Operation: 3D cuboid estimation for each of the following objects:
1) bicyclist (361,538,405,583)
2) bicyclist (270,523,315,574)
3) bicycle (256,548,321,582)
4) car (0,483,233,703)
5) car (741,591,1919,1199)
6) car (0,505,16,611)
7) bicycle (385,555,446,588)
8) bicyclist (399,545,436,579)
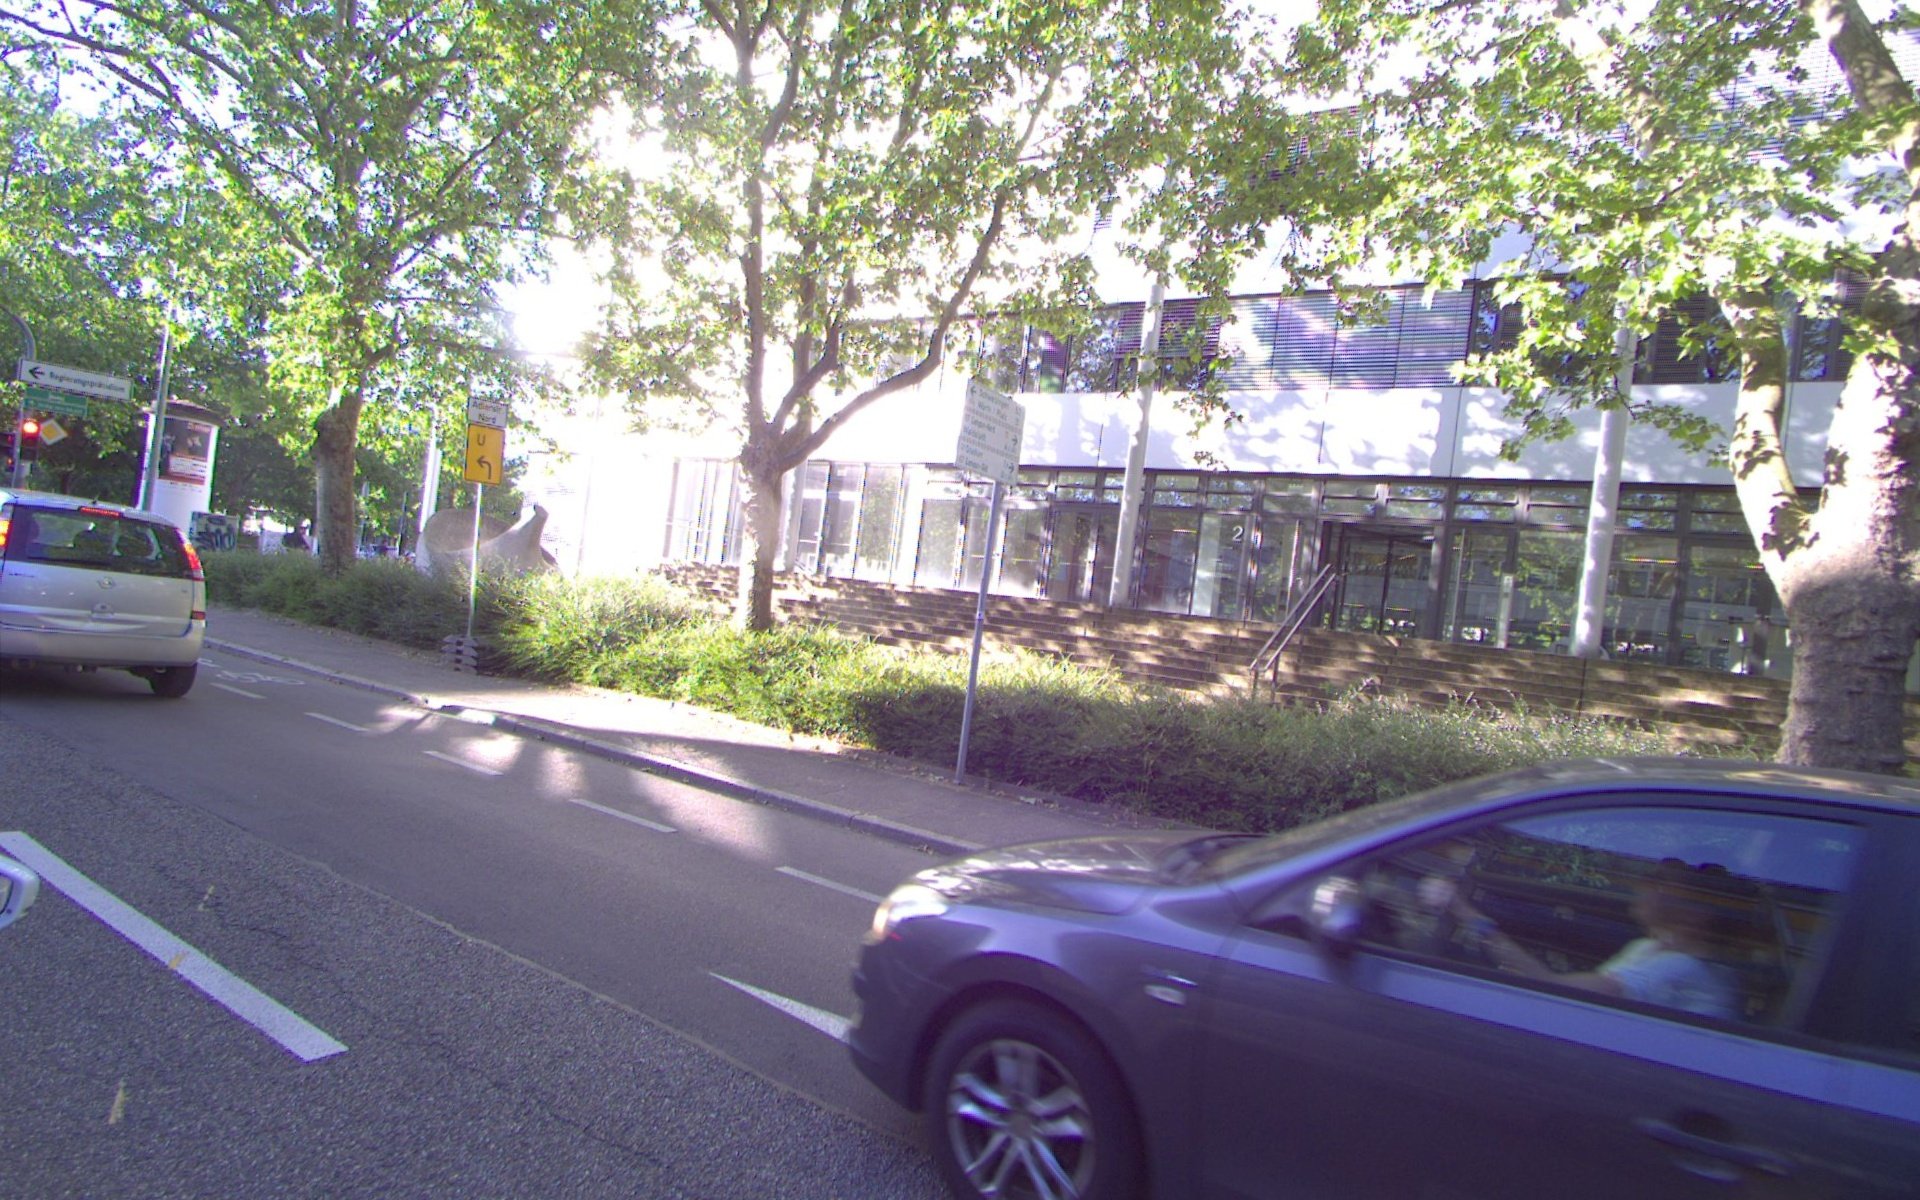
[{"bbox_3d":[-21.660,-1.492,37.778,0.700,1.508,1.118,7,-1,31],"label":"bicyclist"},{"bbox_3d":[-23.924,-1.838,36.047,0.597,1.662,1.017,7,-1,26],"label":"bicyclist"},{"bbox_3d":[-24.011,-1.238,36.021,0.603,0.957,1.800,7,-2,26],"label":"bicycle"},{"bbox_3d":[-8.423,-0.174,9.053,3.797,1.621,1.704,7,-1,34],"label":"car"},{"bbox_3d":[1.554,0.991,2.475,3.910,1.499,1.647,7,-1,32],"label":"car"},{"bbox_3d":[-13.991,-0.725,12.600,4.592,1.481,1.917,7,-2,32],"label":"car"},{"bbox_3d":[-21.499,-1.123,39.780,0.641,1.040,1.983,7,-1,32],"label":"bicycle"},{"bbox_3d":[-21.447,-1.507,39.792,0.610,1.168,0.992,7,-1,33],"label":"bicyclist"}]
